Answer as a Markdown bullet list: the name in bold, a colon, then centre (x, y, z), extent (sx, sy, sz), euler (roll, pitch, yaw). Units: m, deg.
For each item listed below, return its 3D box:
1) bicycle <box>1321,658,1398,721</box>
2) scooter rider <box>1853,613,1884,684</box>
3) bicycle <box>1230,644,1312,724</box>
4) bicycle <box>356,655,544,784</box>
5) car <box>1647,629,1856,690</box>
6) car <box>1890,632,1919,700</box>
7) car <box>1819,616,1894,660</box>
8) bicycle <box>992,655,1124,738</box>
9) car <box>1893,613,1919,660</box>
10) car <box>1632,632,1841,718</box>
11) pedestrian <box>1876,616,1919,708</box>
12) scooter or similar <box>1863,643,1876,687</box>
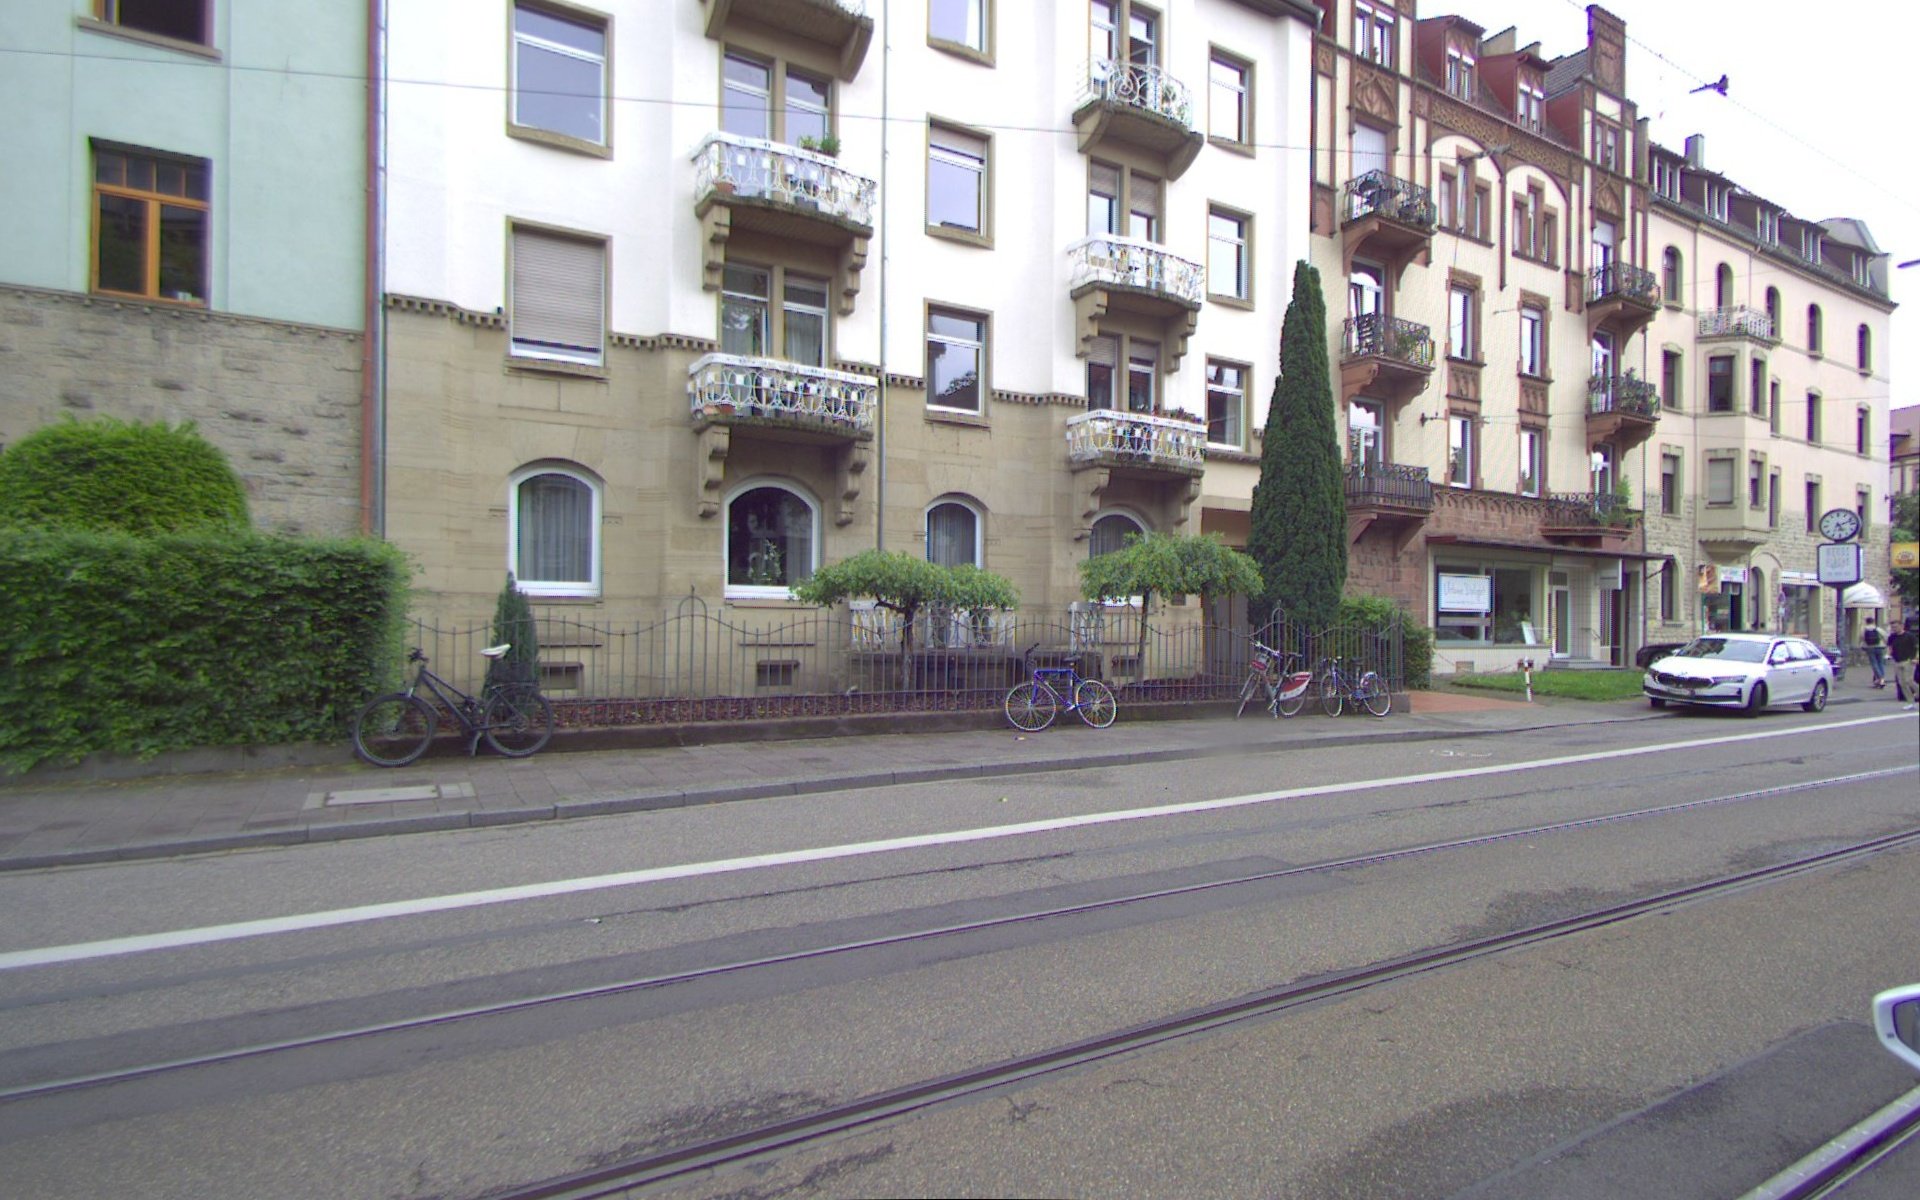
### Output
- **bicycle**: centre (6.467, 1.425, 16.235), extent (1.498, 0.950, 0.330), euler (1, -1, -31)
- **scooter rider**: centre (26.343, 1.394, 29.129), extent (0.635, 2.040, 0.753), euler (-1, -2, 45)
- **bicycle**: centre (4.621, 1.218, 14.868), extent (1.613, 1.116, 0.381), euler (2, -2, -42)
- **bicycle**: centre (-4.712, 1.076, 9.335), extent (1.528, 1.098, 0.358), euler (1, -1, -31)
- **car**: centre (22.850, 1.656, 29.186), extent (1.861, 1.389, 4.397), euler (1, 1, -34)
- **car**: centre (25.175, 1.613, 25.275), extent (4.846, 1.632, 1.868), euler (2, -4, -39)
- **car**: centre (54.585, 2.292, 61.288), extent (2.146, 2.560, 5.373), euler (0, -1, 28)
- **bicycle**: centre (1.281, 1.236, 13.063), extent (1.640, 0.938, 0.358), euler (0, -20, -28)
- **car**: centre (50.412, 1.873, 51.159), extent (2.142, 2.449, 5.382), euler (0, -1, 18)
- **car**: centre (15.246, 1.393, 19.662), extent (4.557, 1.504, 1.738), euler (1, -2, -31)
- **pedestrian**: centre (19.676, 1.281, 20.908), extent (0.872, 1.868, 0.664), euler (1, -2, -31)
- **scooter or similar**: centre (26.356, 1.867, 29.109), extent (0.229, 1.250, 0.947), euler (-1, -2, 45)
